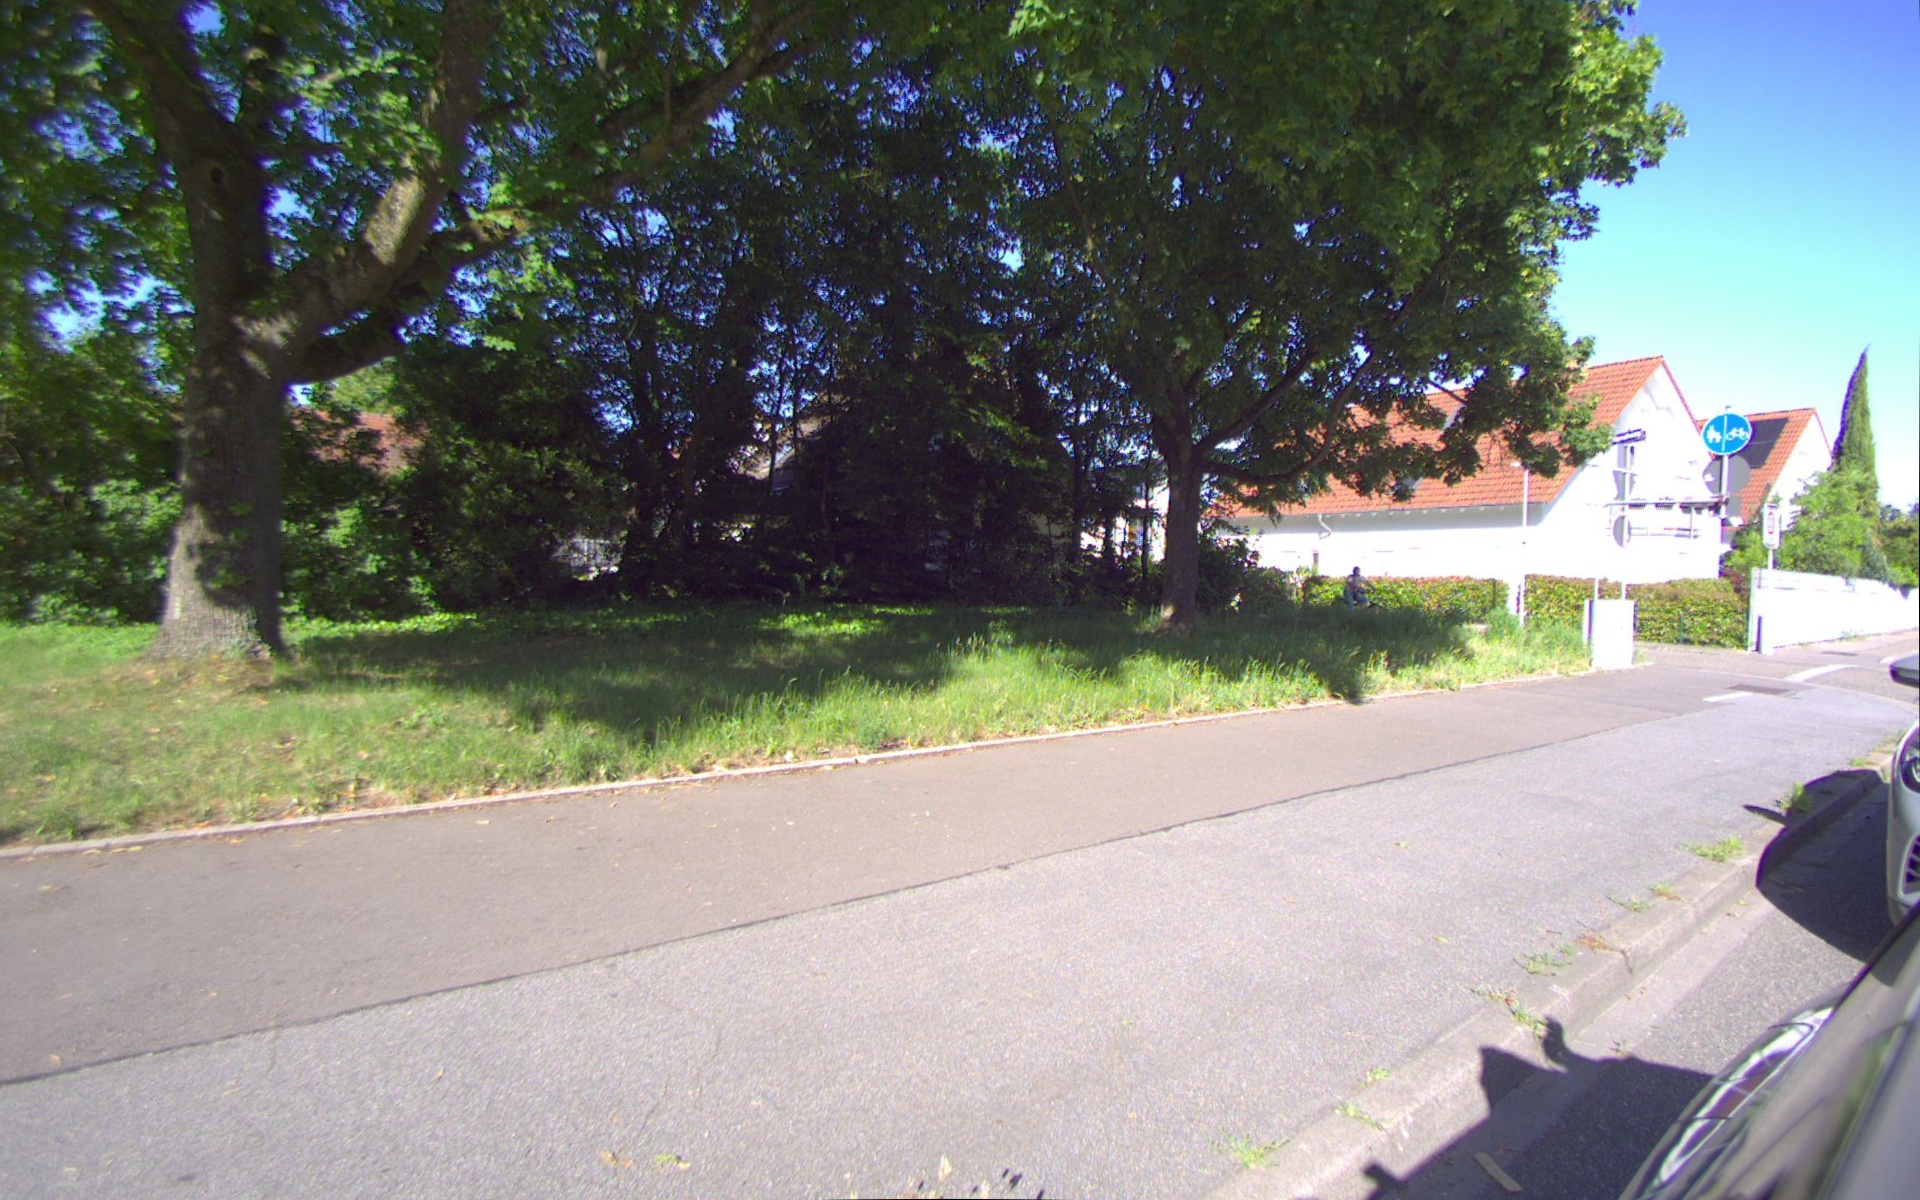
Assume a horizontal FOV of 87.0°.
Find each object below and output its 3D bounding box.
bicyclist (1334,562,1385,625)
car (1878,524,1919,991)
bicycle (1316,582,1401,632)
[{"bbox_3d":[10.748,-0.182,27.228,0.571,1.599,0.995,0,6,-45],"label":"bicyclist"},{"bbox_3d":[5.621,0.600,4.421,4.133,1.710,1.857,0,3,-41],"label":"car"},{"bbox_3d":[10.719,0.179,27.248,0.571,1.110,1.984,0,6,-45],"label":"bicycle"}]
